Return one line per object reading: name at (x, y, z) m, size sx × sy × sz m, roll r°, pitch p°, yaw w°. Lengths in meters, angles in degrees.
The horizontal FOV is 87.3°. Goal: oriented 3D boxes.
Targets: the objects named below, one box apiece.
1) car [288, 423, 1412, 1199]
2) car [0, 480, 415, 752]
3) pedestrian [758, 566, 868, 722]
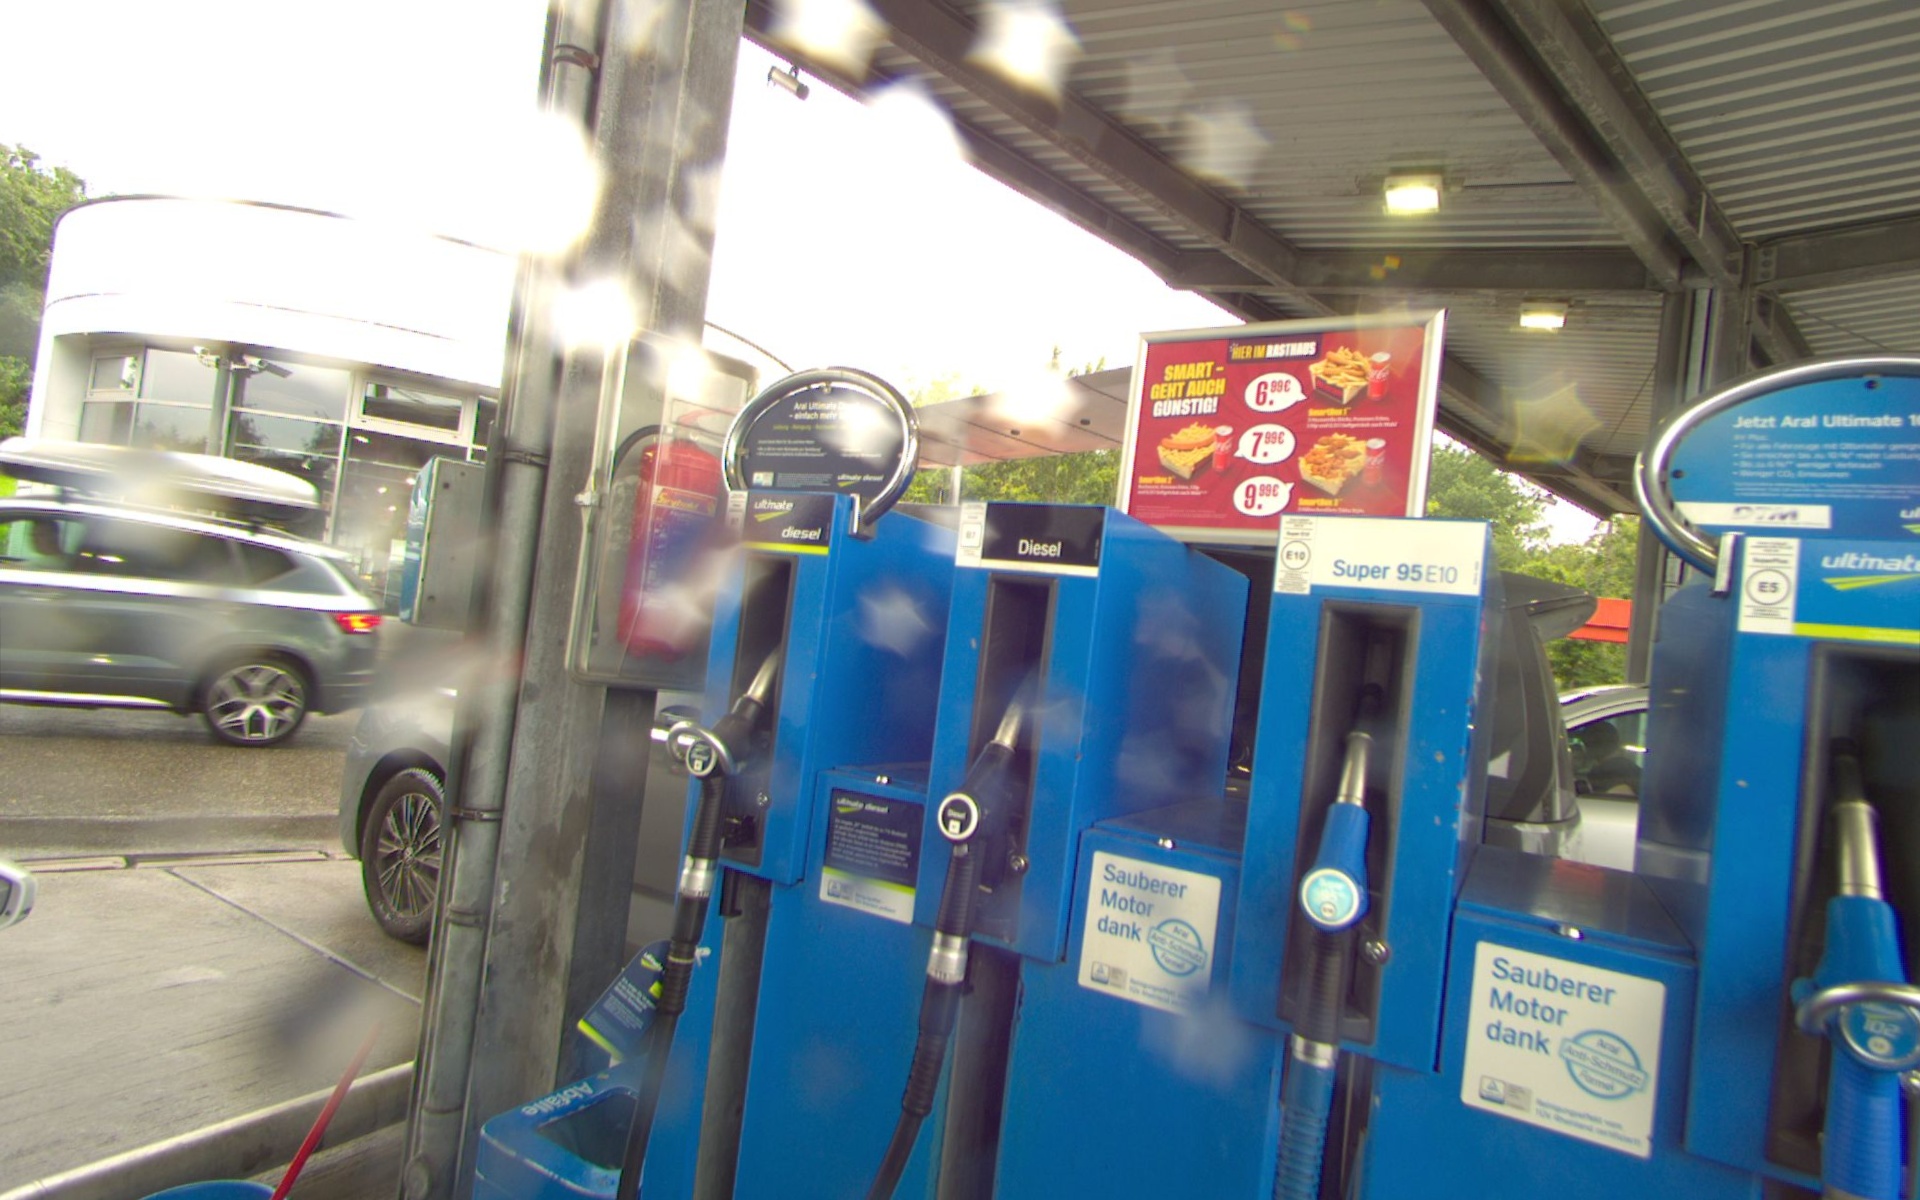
car at (-0.577, 0.522, 3.969) m, size 3.934 × 1.971 × 1.819 m, roll 7°, pitch -1°, yaw 32°
car at (-6.465, 0.019, 7.086) m, size 4.290 × 1.606 × 1.872 m, roll 9°, pitch -1°, yaw -36°
pedestrian at (-1.944, 0.582, 13.322) m, size 0.991 × 1.917 × 0.716 m, roll 7°, pitch 0°, yaw 34°
